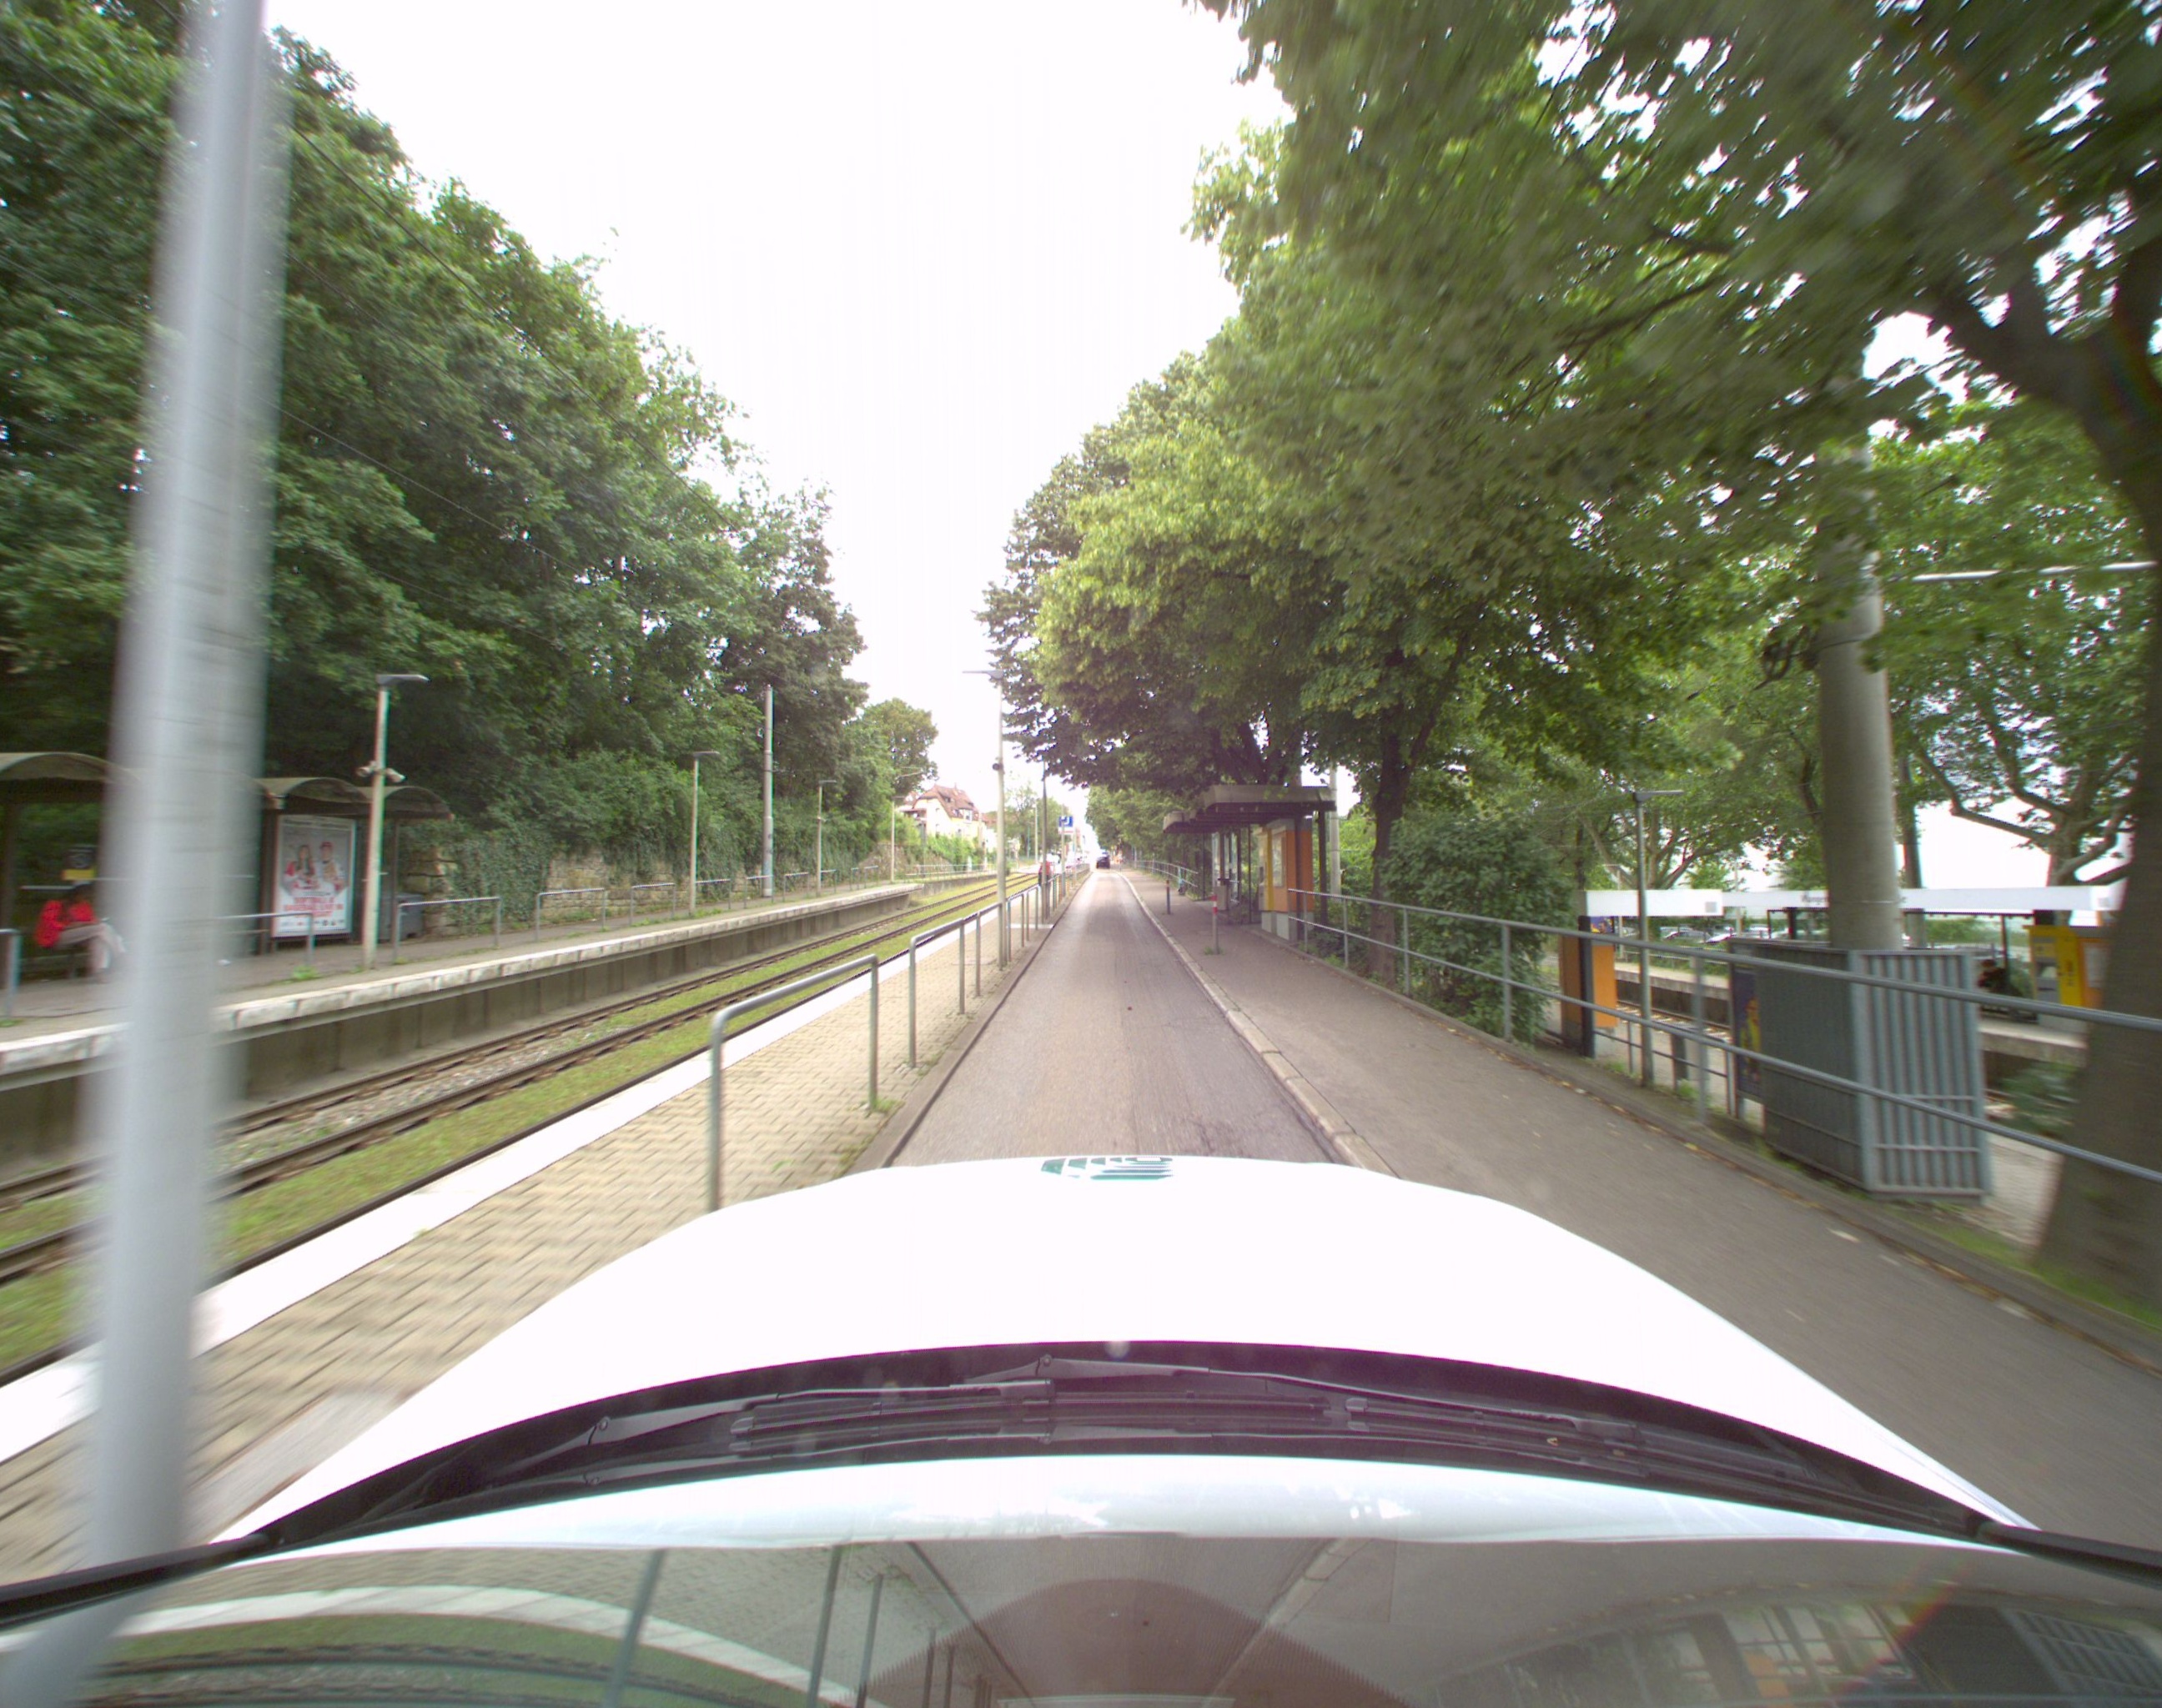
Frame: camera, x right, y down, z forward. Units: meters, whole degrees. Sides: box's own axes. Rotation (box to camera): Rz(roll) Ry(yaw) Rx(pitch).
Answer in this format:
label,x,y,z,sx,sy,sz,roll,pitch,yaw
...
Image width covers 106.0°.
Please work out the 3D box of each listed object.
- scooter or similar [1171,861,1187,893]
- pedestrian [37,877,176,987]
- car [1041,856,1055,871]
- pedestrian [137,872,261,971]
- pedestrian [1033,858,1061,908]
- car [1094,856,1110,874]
label,x,y,z,sx,sy,sz,roll,pitch,yaw
scooter or similar,3.624,0.875,30.180,0.342,1.157,1.144,3,-3,-4
pedestrian,-12.650,0.991,10.596,0.769,1.326,0.787,3,-1,1
car,-5.374,1.597,132.666,1.986,2.146,4.000,3,-3,1
pedestrian,-12.598,0.949,11.663,0.769,1.326,0.787,3,-3,1
pedestrian,-1.005,0.840,24.141,0.739,1.409,0.747,3,1,1
car,2.764,1.484,106.798,1.986,2.146,4.000,3,-3,1
